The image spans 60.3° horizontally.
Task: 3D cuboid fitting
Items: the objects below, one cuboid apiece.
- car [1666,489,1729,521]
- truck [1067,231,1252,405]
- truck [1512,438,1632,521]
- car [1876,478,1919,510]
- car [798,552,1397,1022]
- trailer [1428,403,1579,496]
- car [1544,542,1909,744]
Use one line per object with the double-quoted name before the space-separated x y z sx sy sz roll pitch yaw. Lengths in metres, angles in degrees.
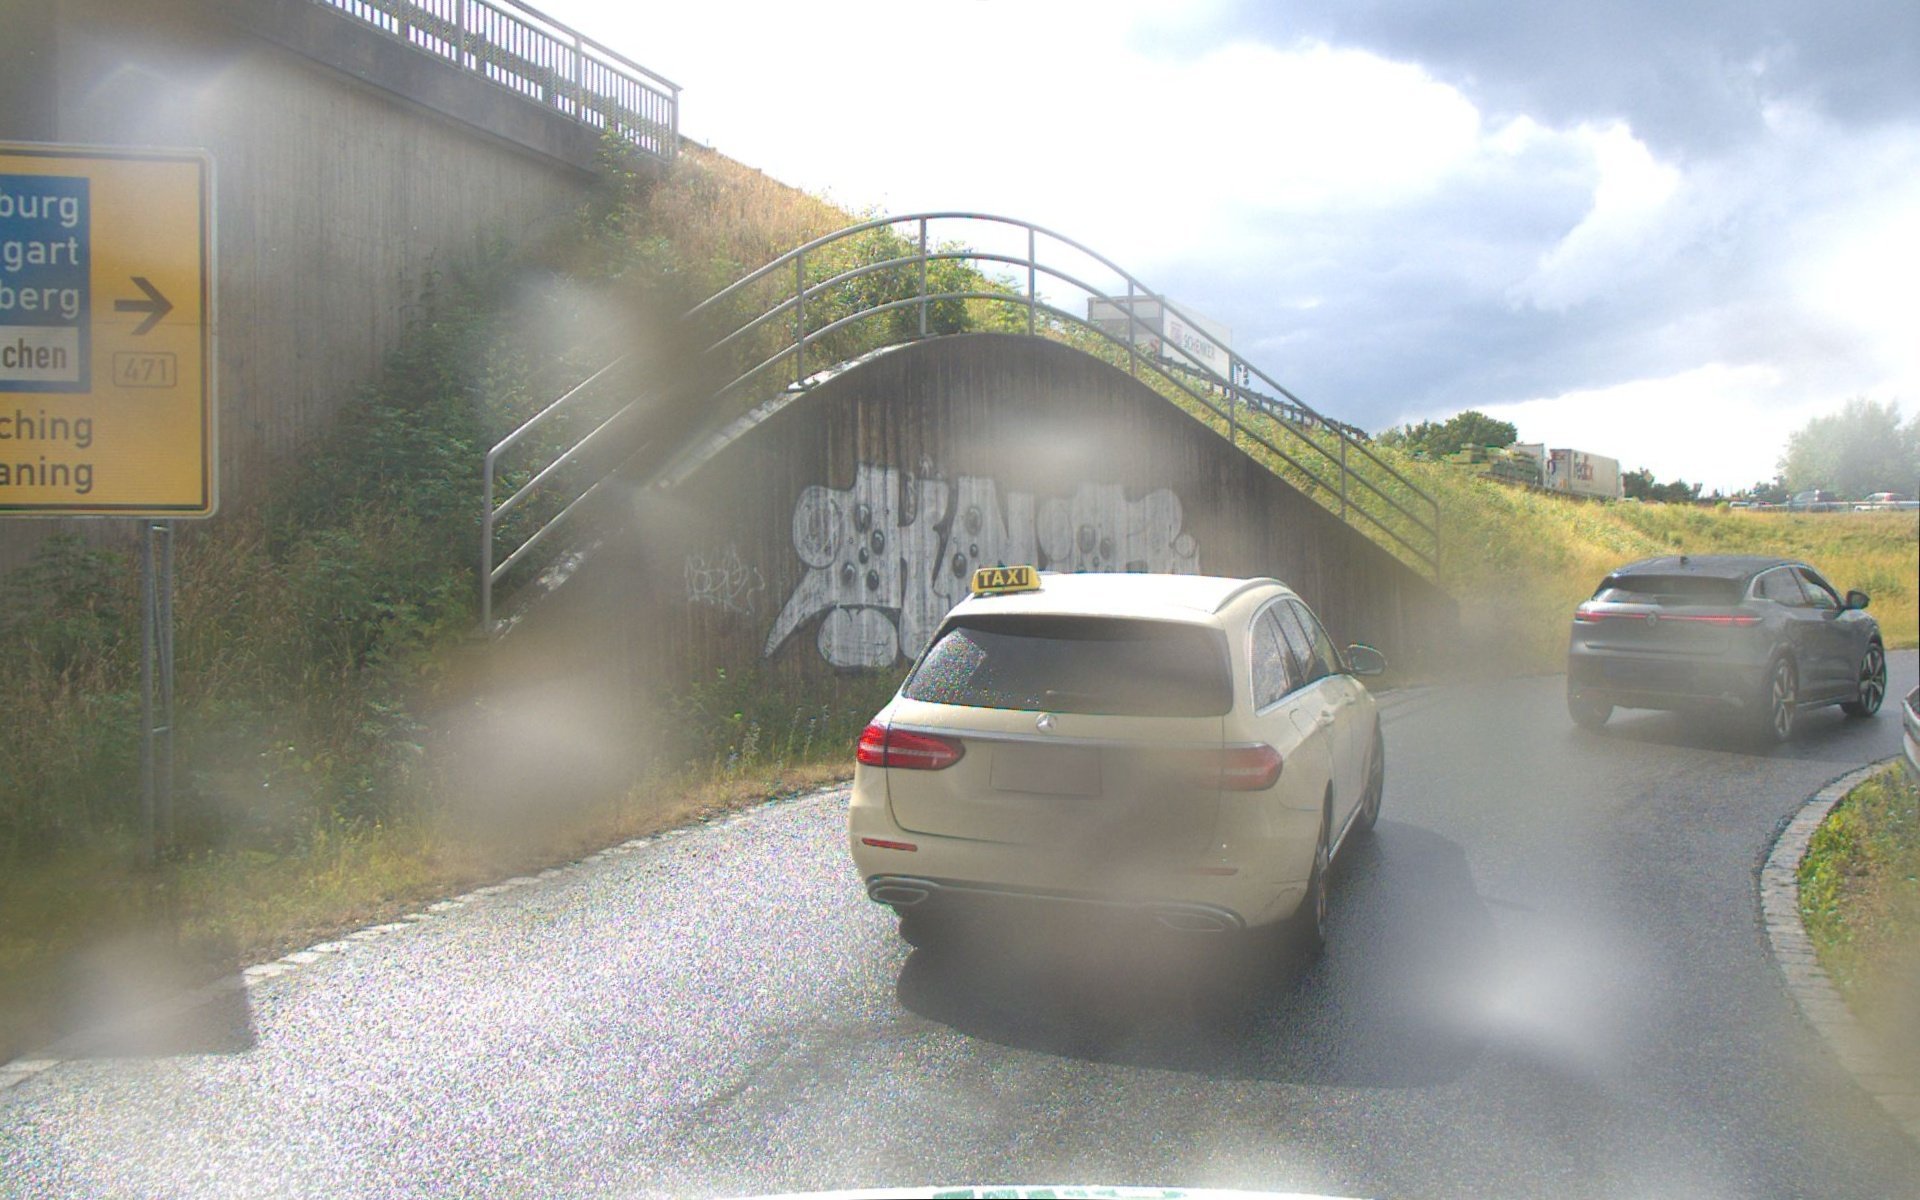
"car" 51.179 -6.567 114.727 3.910 2.049 1.825 1 0 27
"truck" 6.684 -8.932 53.915 3.118 4.035 9.228 1 0 26
"truck" 44.628 -8.473 119.902 4.380 4.582 19.327 1 0 32
"car" 62.297 -6.901 107.409 1.961 1.894 5.036 -1 1 -15
"car" 1.001 0.565 7.864 1.876 1.533 4.599 0 1 17
"trailer" 34.356 -9.144 103.483 4.334 4.025 20.167 1 0 32
"car" 7.050 0.272 15.037 3.969 1.551 1.696 -3 3 -44
